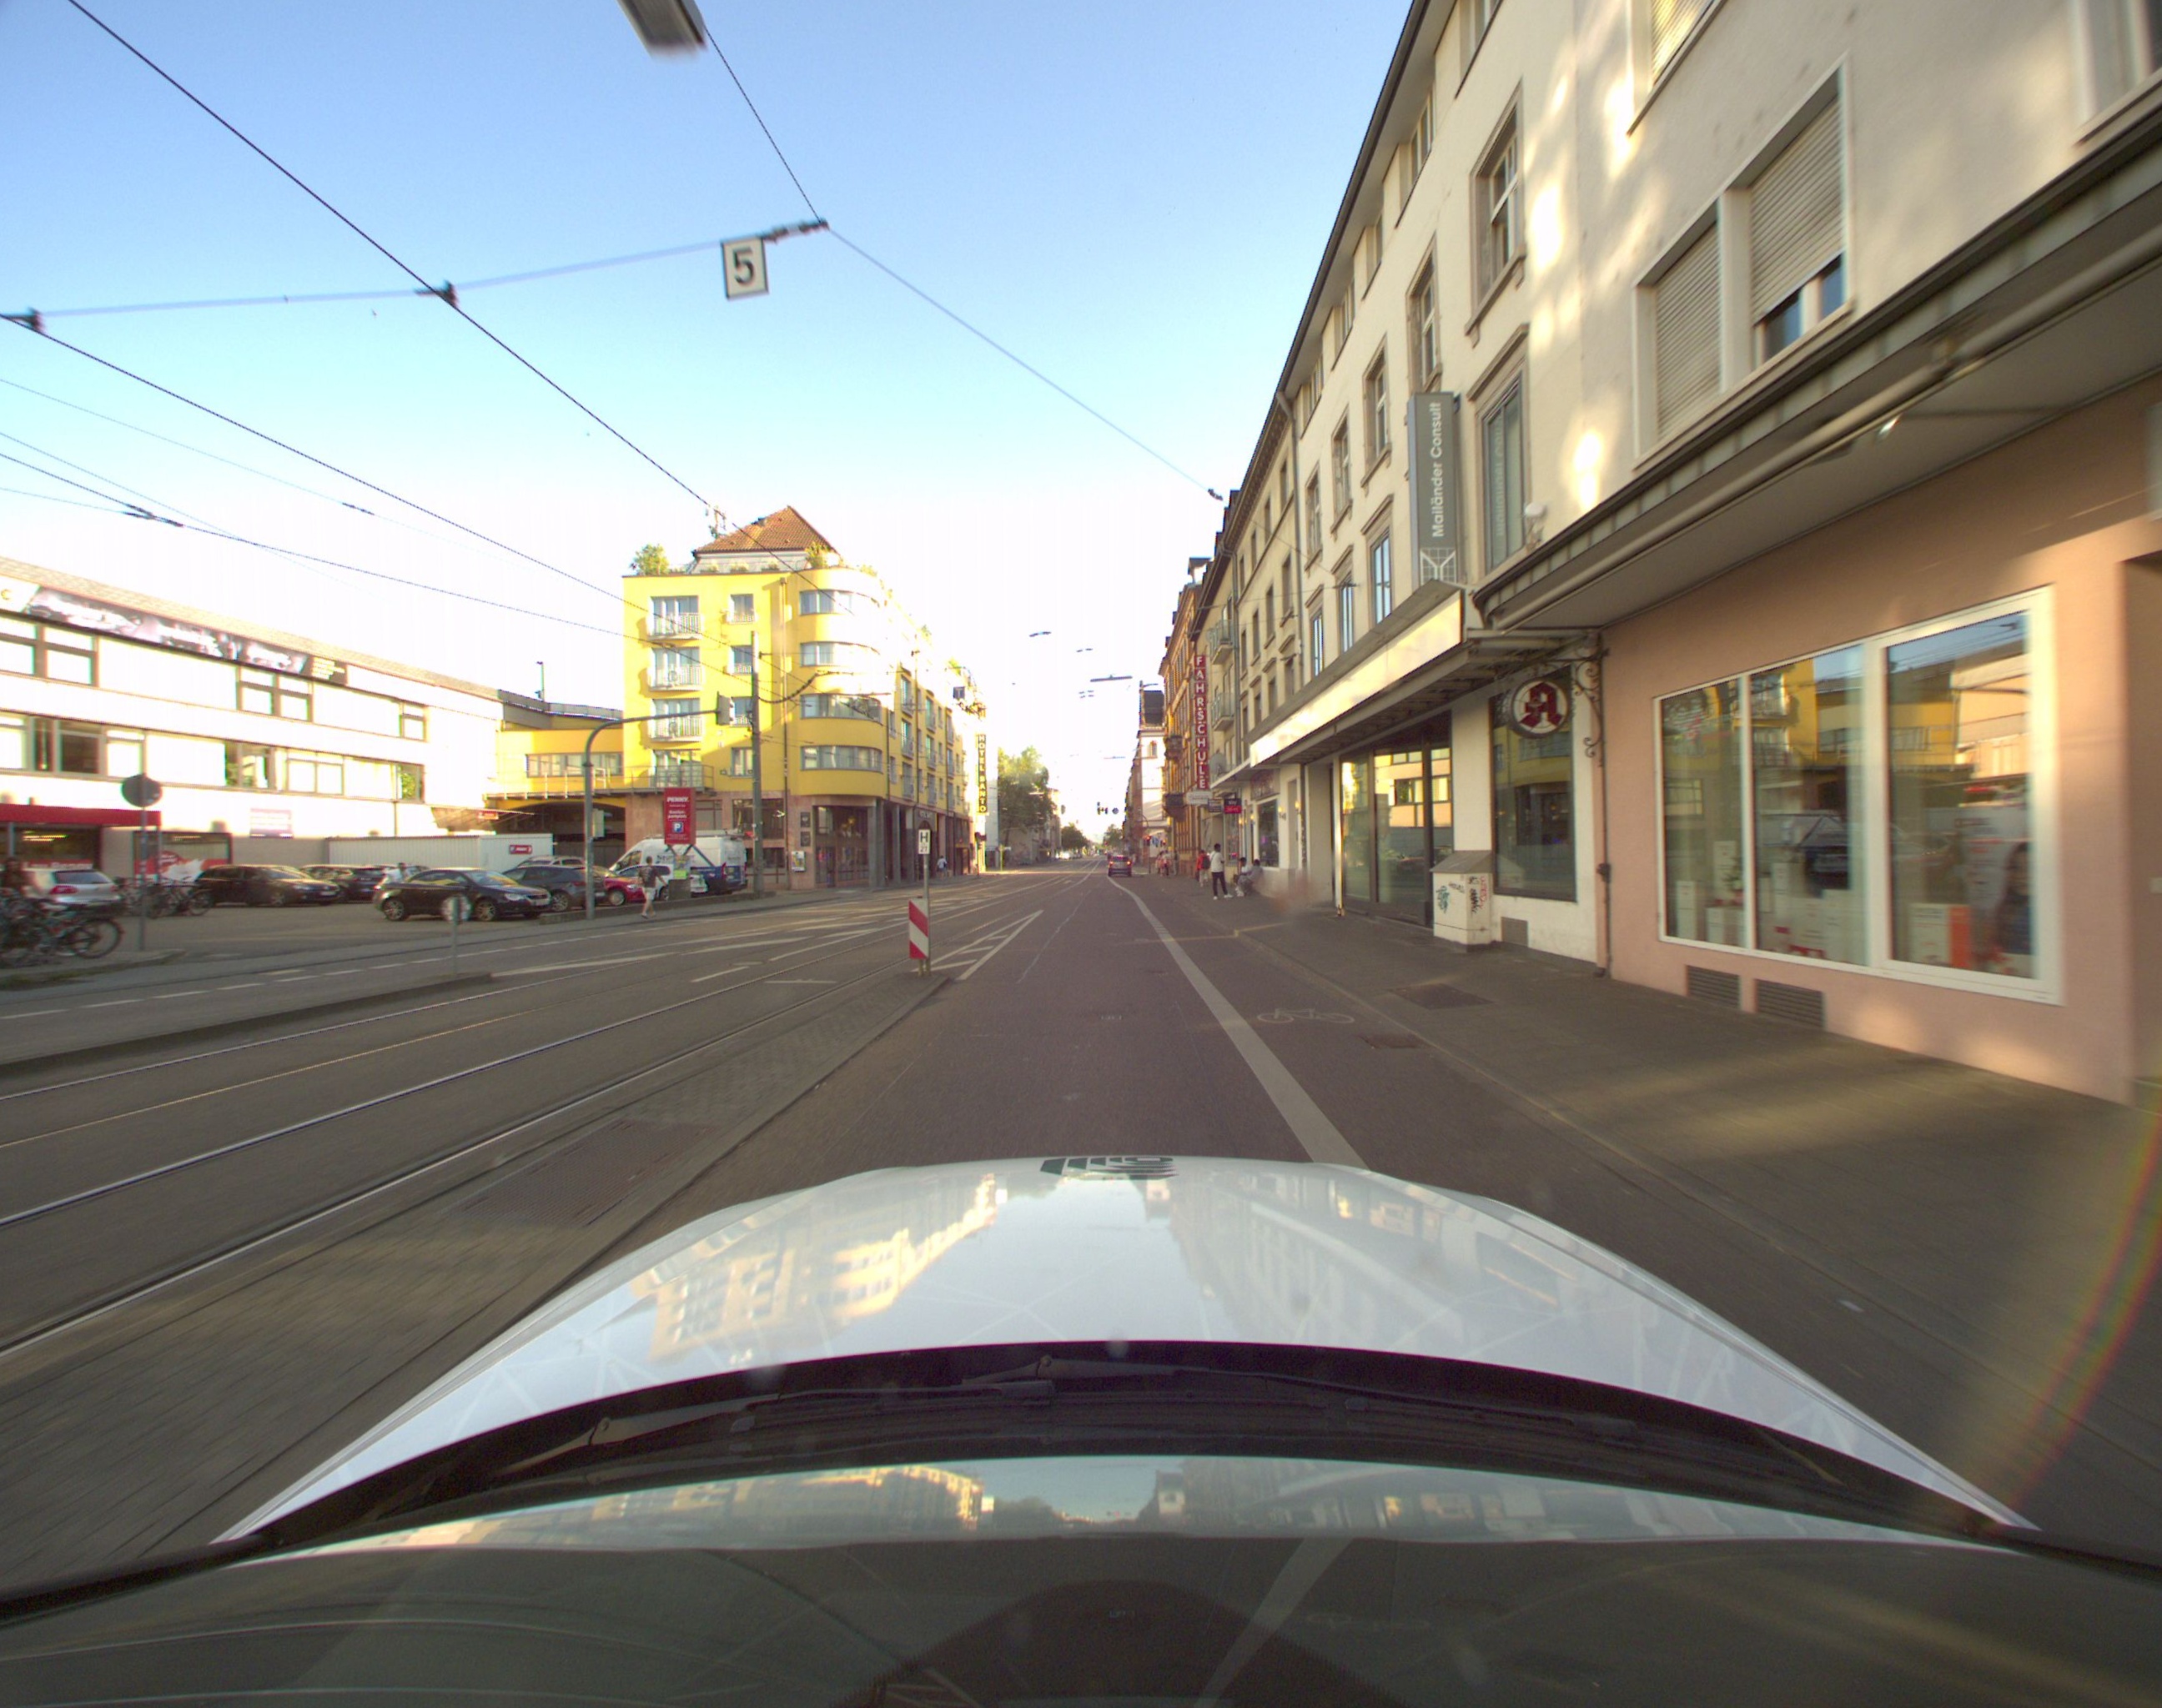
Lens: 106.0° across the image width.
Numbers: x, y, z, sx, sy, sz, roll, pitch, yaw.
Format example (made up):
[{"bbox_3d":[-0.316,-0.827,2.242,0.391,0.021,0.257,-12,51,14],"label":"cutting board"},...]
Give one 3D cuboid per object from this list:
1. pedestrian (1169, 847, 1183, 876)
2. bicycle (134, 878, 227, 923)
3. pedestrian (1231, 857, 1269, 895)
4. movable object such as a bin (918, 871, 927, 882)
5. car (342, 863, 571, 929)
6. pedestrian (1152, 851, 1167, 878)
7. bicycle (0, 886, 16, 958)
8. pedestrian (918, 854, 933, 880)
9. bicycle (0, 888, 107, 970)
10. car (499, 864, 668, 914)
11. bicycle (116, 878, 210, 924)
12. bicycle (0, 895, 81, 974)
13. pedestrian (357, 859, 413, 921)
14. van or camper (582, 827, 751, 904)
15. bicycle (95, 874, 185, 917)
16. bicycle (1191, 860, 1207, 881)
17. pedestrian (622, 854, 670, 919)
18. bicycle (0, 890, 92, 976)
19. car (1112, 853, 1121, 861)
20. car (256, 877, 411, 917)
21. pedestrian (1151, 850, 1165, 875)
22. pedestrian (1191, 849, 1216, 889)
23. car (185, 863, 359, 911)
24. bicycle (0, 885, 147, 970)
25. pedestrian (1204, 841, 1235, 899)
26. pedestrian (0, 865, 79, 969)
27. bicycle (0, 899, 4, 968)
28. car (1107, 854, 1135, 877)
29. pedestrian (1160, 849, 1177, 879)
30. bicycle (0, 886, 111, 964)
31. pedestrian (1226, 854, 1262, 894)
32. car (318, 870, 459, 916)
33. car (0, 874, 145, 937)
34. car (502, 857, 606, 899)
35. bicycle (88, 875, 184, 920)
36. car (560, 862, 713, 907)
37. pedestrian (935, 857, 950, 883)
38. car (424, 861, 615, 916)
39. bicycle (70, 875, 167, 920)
[{"bbox_3d":[6.351,0.503,54.525,0.688,1.908,0.670,-5,0,0],"label":"pedestrian"},{"bbox_3d":[-26.070,1.328,23.624,0.429,1.187,1.836,-1,0,9],"label":"bicycle"},{"bbox_3d":[5.587,0.735,27.013,0.707,1.174,1.010,-7,0,-17],"label":"pedestrian"},{"bbox_3d":[-11.079,1.568,56.951,0.381,0.716,0.842,3,1,3],"label":"movable object such as a bin"},{"bbox_3d":[-17.103,1.118,22.458,4.875,1.583,1.881,-2,0,2],"label":"car"},{"bbox_3d":[5.352,0.716,55.453,0.803,1.799,0.761,-5,0,0],"label":"pedestrian"},{"bbox_3d":[-18.183,1.139,12.799,0.446,1.187,1.831,-2,0,-1],"label":"bicycle"},{"bbox_3d":[-11.057,0.891,57.778,0.795,1.771,0.750,3,0,1],"label":"pedestrian"},{"bbox_3d":[-16.787,1.184,12.919,0.446,1.187,1.831,-2,0,-1],"label":"bicycle"},{"bbox_3d":[-16.913,1.164,27.820,4.570,1.475,1.881,-2,0,2],"label":"car"},{"bbox_3d":[-26.603,1.334,23.652,0.429,1.187,1.836,-1,0,9],"label":"bicycle"},{"bbox_3d":[-17.256,1.306,12.937,0.441,1.187,1.831,-2,0,-1],"label":"bicycle"},{"bbox_3d":[-19.515,1.001,22.847,0.766,1.669,0.837,-2,0,3],"label":"pedestrian"},{"bbox_3d":[-16.629,0.435,32.891,5.583,2.827,2.317,-2,0,2],"label":"van or camper"},{"bbox_3d":[-28.738,1.250,24.910,0.429,1.187,1.836,-1,0,9],"label":"bicycle"},{"bbox_3d":[6.305,0.880,43.588,0.553,1.061,2.312,-4,0,3],"label":"bicycle"},{"bbox_3d":[-12.631,0.933,23.672,0.830,1.832,0.910,-2,0,1],"label":"pedestrian"},{"bbox_3d":[-15.810,1.172,11.945,0.444,1.187,1.829,-2,0,-4],"label":"bicycle"},{"bbox_3d":[8.039,0.641,185.529,1.942,1.684,4.003,-1,0,3],"label":"car"},{"bbox_3d":[-28.272,1.613,30.914,3.975,1.354,1.999,-1,0,-1],"label":"car"},{"bbox_3d":[5.831,0.635,61.755,0.802,1.799,0.762,-5,0,2],"label":"pedestrian"},{"bbox_3d":[5.367,0.642,35.772,0.795,1.627,0.826,-7,0,2],"label":"pedestrian"},{"bbox_3d":[-28.010,1.130,28.321,3.975,1.508,1.999,-1,0,-1],"label":"car"},{"bbox_3d":[-16.320,1.145,13.138,0.439,1.187,1.829,-2,0,-3],"label":"bicycle"},{"bbox_3d":[4.580,0.527,26.883,0.699,1.812,0.682,-7,0,17],"label":"pedestrian"},{"bbox_3d":[-17.677,1.044,13.720,0.678,1.697,0.683,-2,0,0],"label":"pedestrian"},{"bbox_3d":[-18.800,1.381,13.115,0.446,1.187,1.831,-2,0,-1],"label":"bicycle"},{"bbox_3d":[3.059,0.860,62.777,1.986,1.618,4.001,-1,0,1],"label":"car"},{"bbox_3d":[5.518,0.595,51.344,0.803,1.799,1.092,-5,0,0],"label":"pedestrian"},{"bbox_3d":[-17.700,1.185,13.738,0.446,1.187,1.831,-2,0,-1],"label":"bicycle"},{"bbox_3d":[5.636,0.702,28.111,0.834,1.255,0.699,-7,0,-33],"label":"pedestrian"},{"bbox_3d":[-28.240,1.564,33.313,3.975,1.700,1.999,-1,0,-1],"label":"car"},{"bbox_3d":[-27.819,1.355,21.014,4.589,1.475,1.873,-2,0,-11],"label":"car"},{"bbox_3d":[-24.074,1.042,37.382,1.987,1.736,4.121,-2,0,1],"label":"car"},{"bbox_3d":[-27.452,1.234,23.706,0.429,1.187,1.836,-1,0,9],"label":"bicycle"},{"bbox_3d":[-16.361,1.109,30.122,4.570,1.475,1.881,-2,0,2],"label":"car"},{"bbox_3d":[-9.852,1.117,57.902,0.749,1.818,1.046,3,0,2],"label":"pedestrian"},{"bbox_3d":[-17.214,1.044,25.129,4.570,1.475,1.881,-2,0,2],"label":"car"},{"bbox_3d":[-28.141,1.246,23.850,0.429,1.187,1.836,-1,0,9],"label":"bicycle"}]
